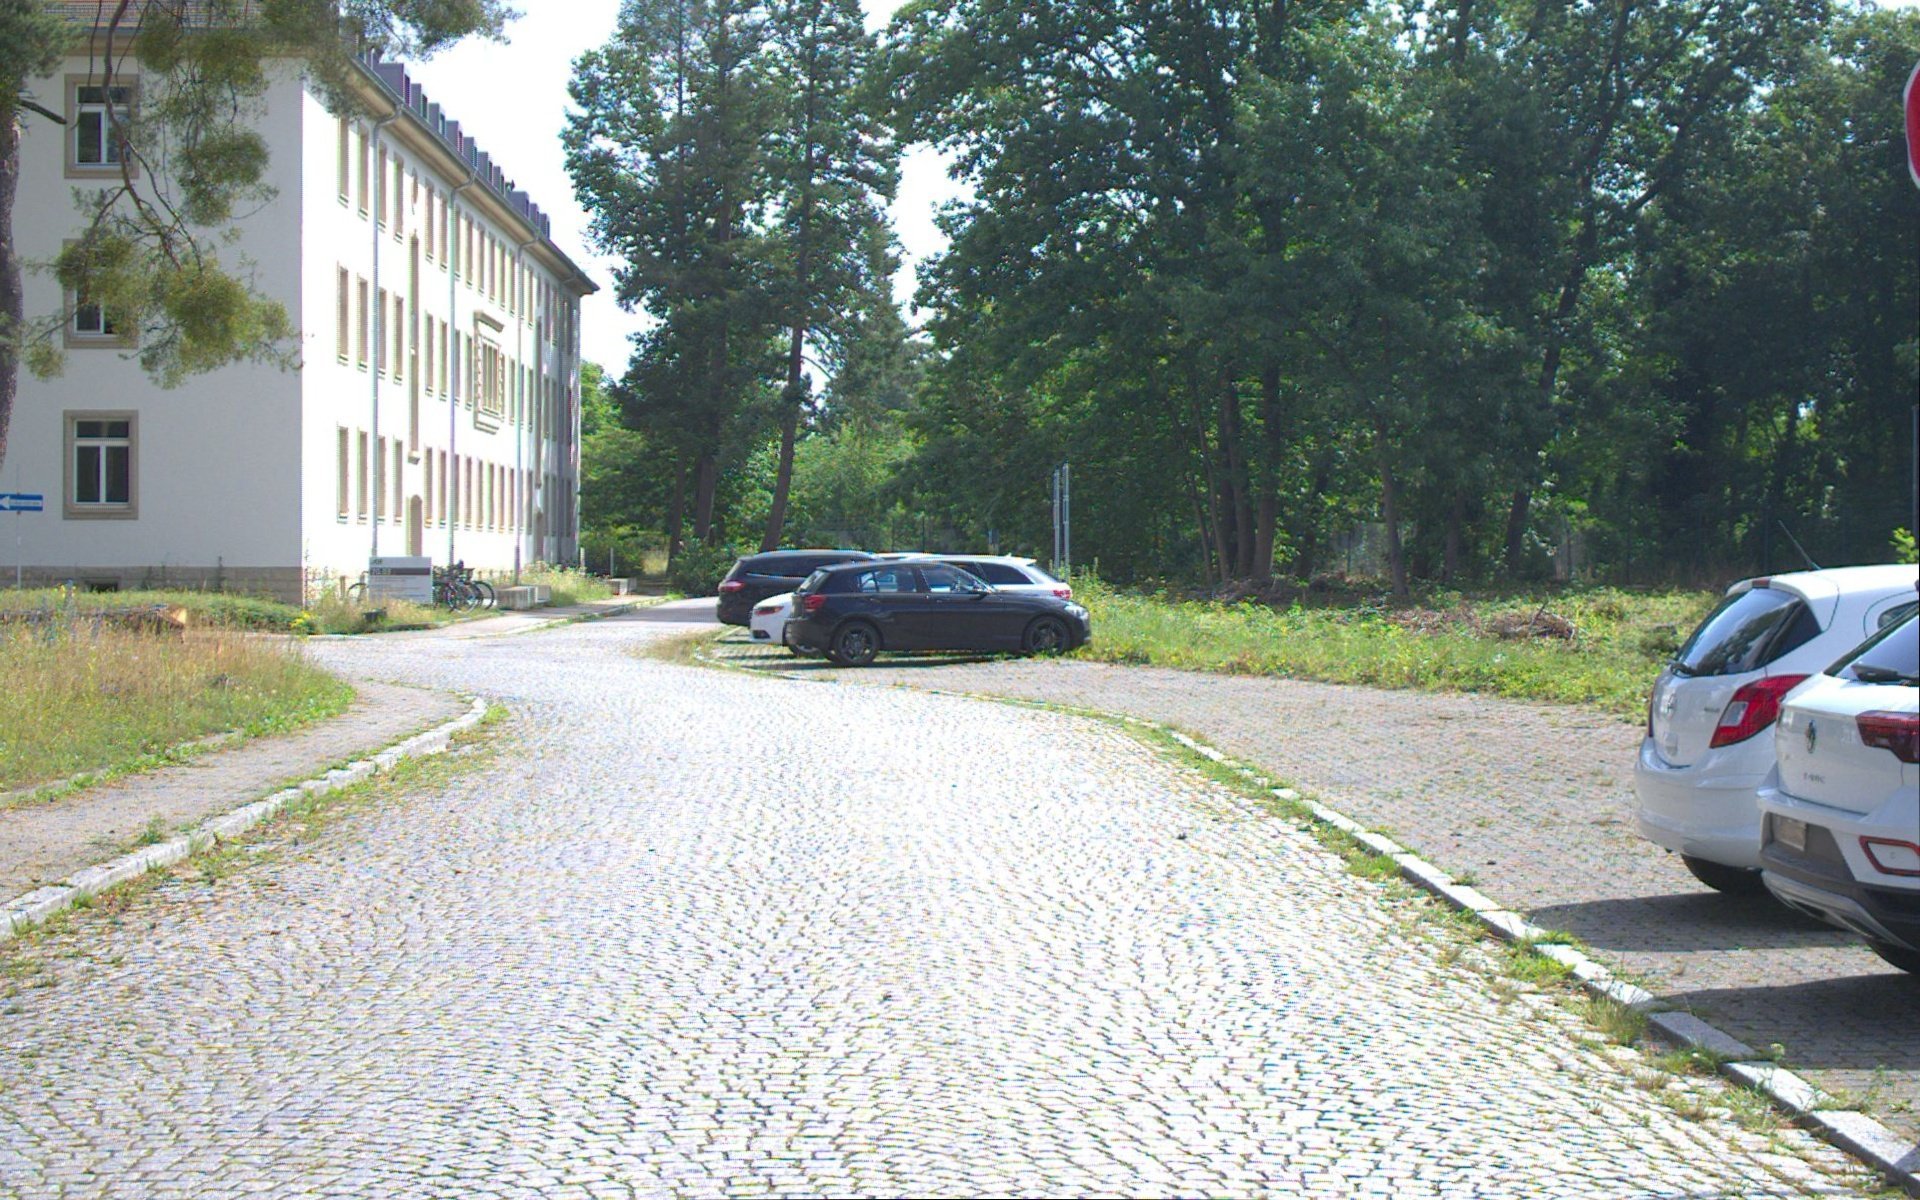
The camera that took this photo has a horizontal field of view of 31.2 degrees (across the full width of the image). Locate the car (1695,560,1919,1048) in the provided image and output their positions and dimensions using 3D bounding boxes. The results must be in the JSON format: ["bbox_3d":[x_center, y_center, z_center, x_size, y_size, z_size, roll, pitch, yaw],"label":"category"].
[{"bbox_3d":[4.722,0.587,11.705,3.986,1.501,1.747,-1,1,-4],"label":"car"}]

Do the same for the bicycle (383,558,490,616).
[{"bbox_3d":[-11.375,-0.284,74.691,2.222,1.256,0.623,0,1,5],"label":"bicycle"}]

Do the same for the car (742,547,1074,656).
[{"bbox_3d":[-0.805,0.007,51.467,4.861,1.467,1.875,-1,2,-3],"label":"car"}]

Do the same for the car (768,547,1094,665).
[{"bbox_3d":[-0.431,0.066,48.258,4.323,1.495,1.830,-1,2,-9],"label":"car"}]

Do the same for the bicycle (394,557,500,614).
[{"bbox_3d":[-11.294,-0.324,75.722,2.222,1.256,0.623,0,0,1],"label":"bicycle"}]

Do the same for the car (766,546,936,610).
[{"bbox_3d":[-2.737,-0.556,86.914,4.187,1.538,1.820,-1,0,0],"label":"car"}]

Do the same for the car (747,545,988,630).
[{"bbox_3d":[-1.739,-0.234,64.115,4.398,1.479,1.766,-1,0,-3],"label":"car"}]

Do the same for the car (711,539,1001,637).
[{"bbox_3d":[-1.787,-0.209,58.798,4.852,1.547,1.880,-1,0,-3],"label":"car"}]

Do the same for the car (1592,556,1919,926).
[{"bbox_3d":[4.948,0.529,14.833,4.041,1.459,1.704,-1,1,-4],"label":"car"}]
